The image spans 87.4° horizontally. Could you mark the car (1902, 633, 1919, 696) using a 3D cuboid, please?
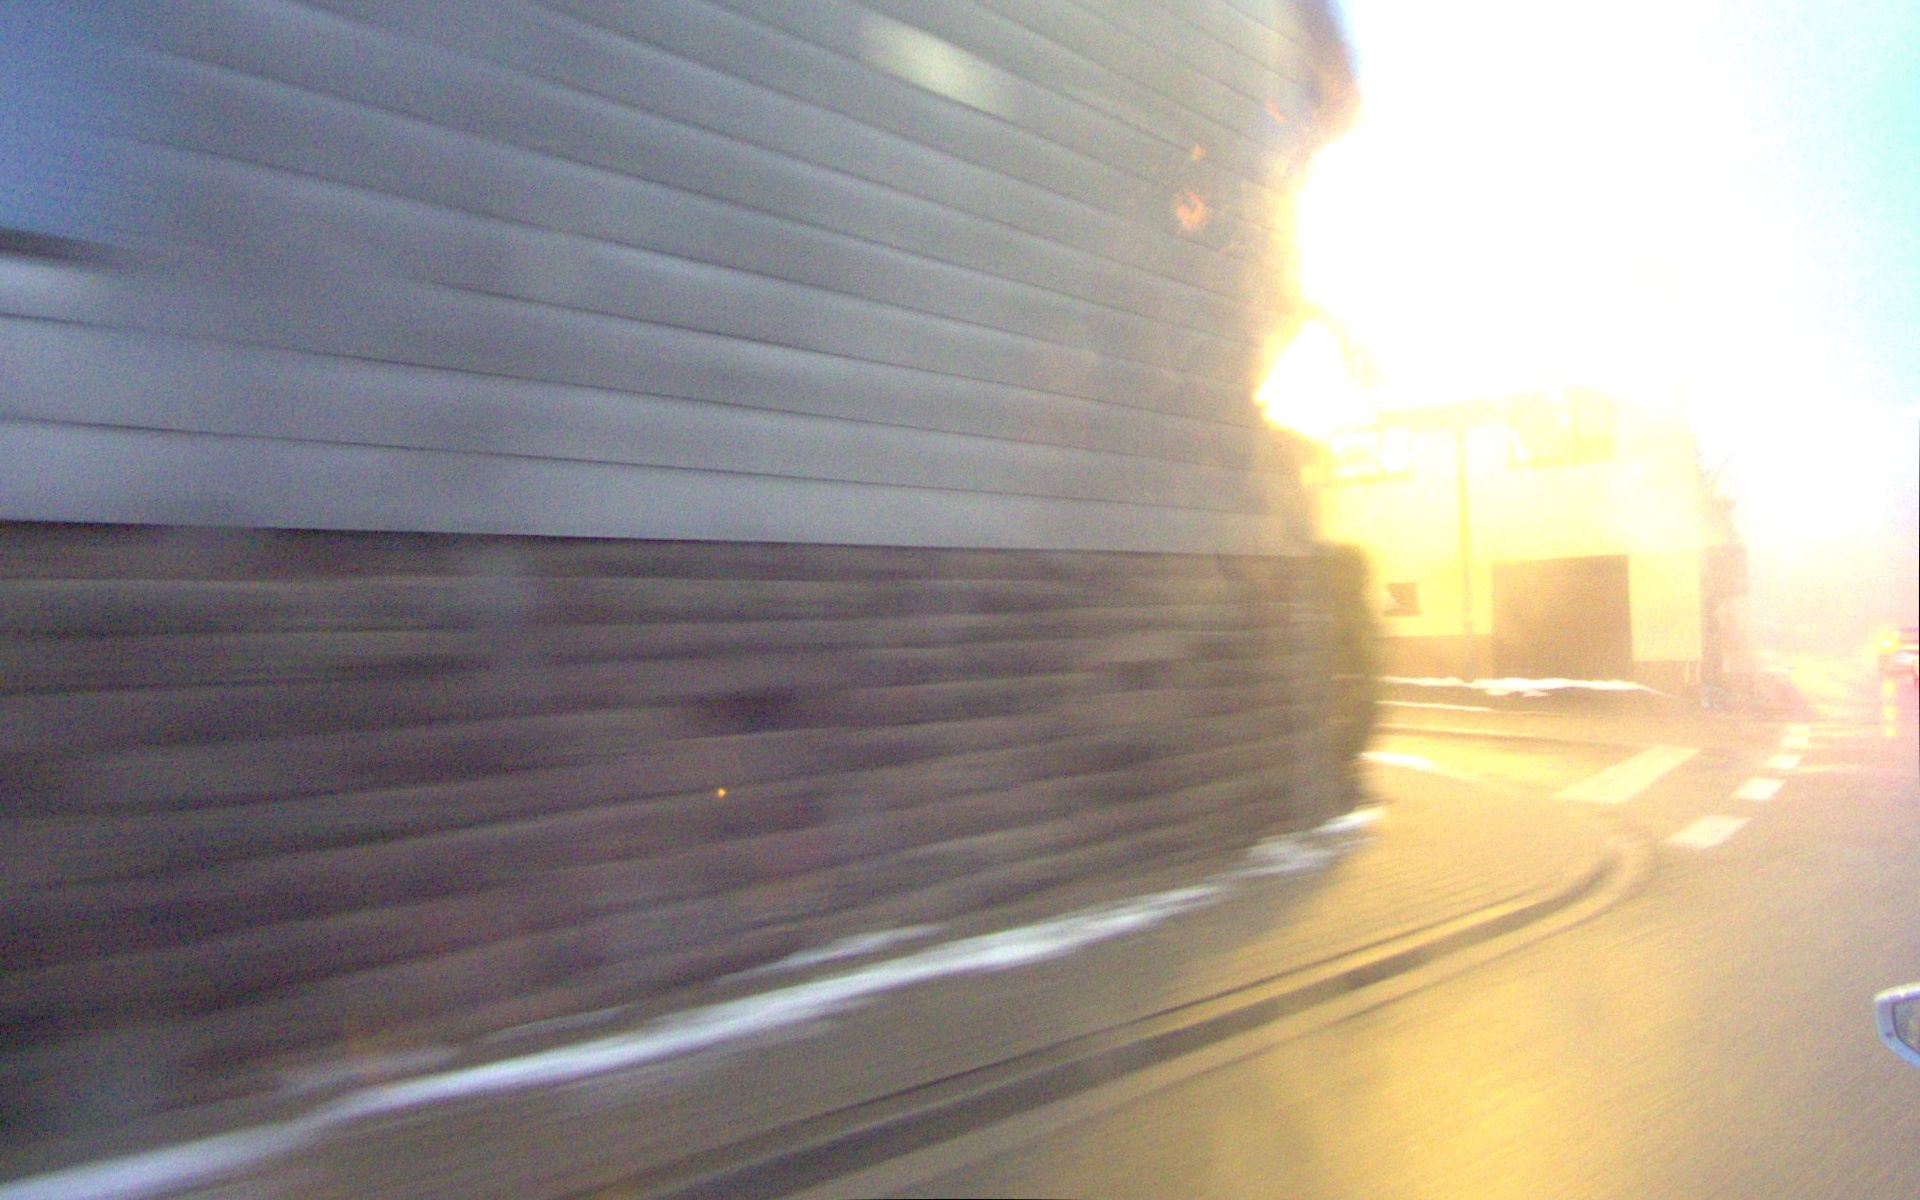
[{"bbox_3d":[25.149,1.652,25.287,1.971,1.528,3.979,1,-2,42],"label":"car"}]

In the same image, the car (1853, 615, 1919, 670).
[{"bbox_3d":[31.463,1.442,33.875,1.971,1.750,3.979,1,-2,42],"label":"car"}]
